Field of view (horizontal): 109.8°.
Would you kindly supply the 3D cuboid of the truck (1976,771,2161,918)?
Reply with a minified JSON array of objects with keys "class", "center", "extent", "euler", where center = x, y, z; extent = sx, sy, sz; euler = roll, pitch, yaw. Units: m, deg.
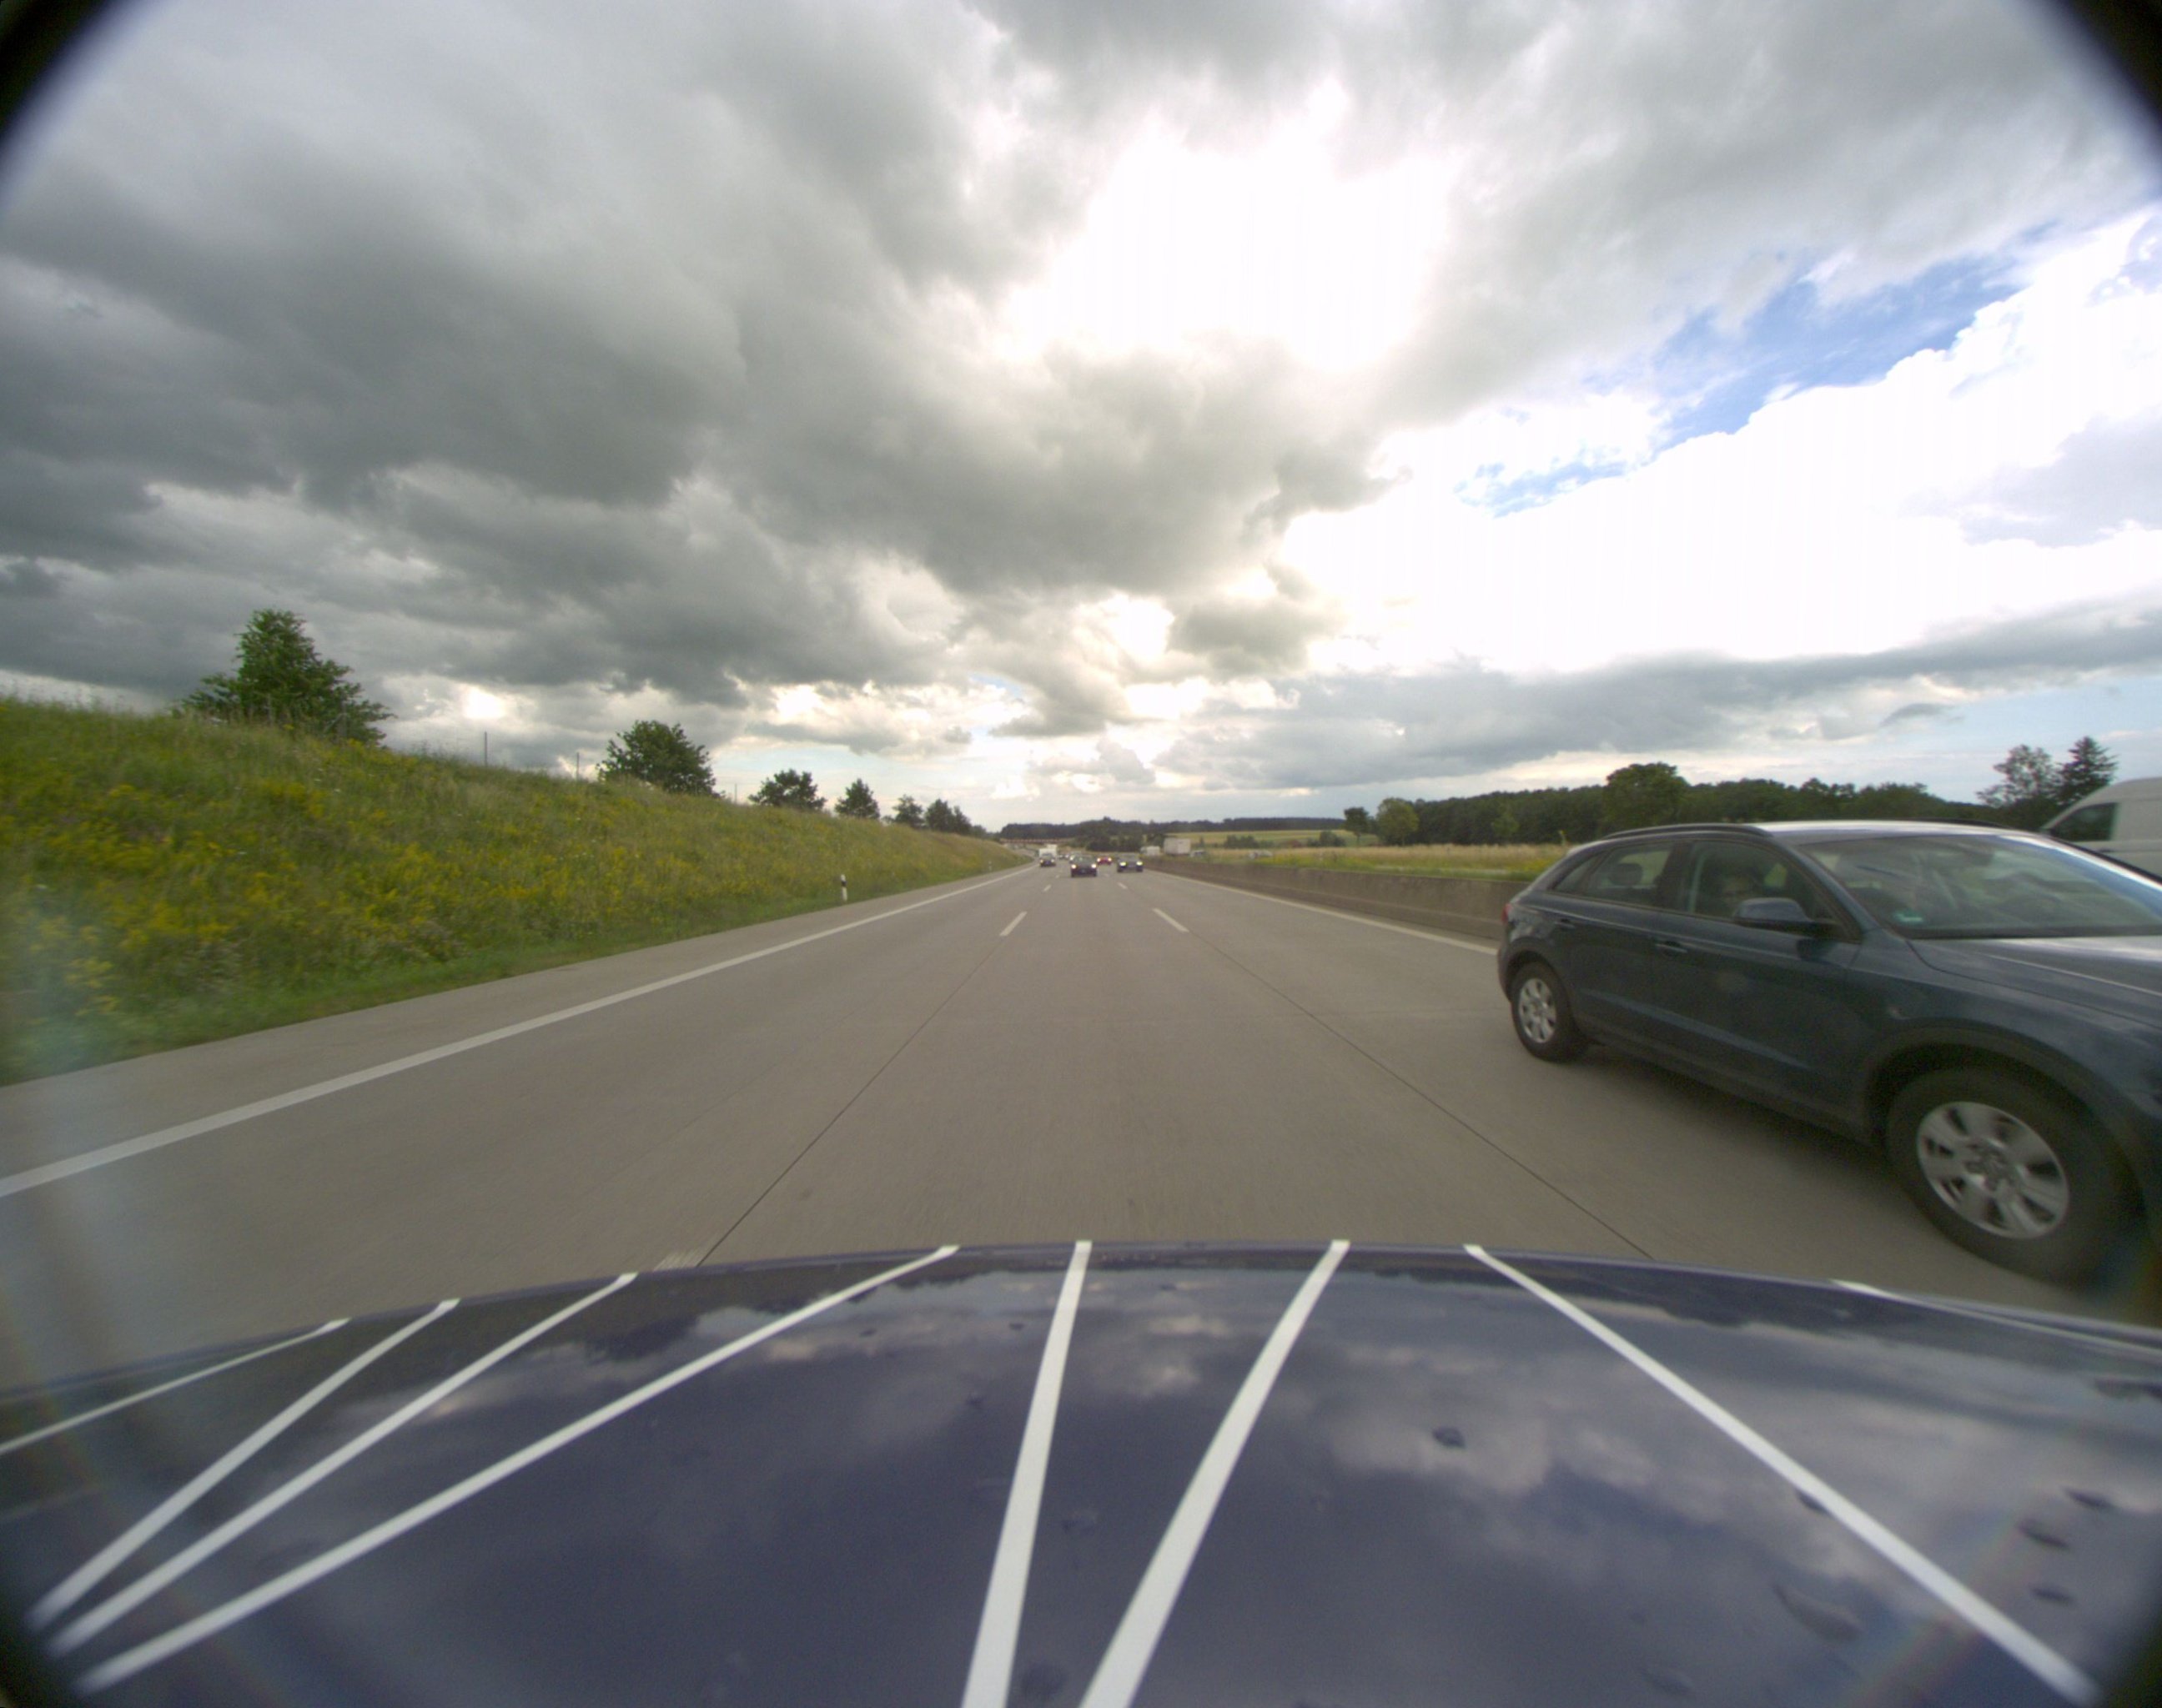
[{"class":"truck","center":[19.823,-0.187,12.212],"extent":[2.150,2.552,7.446],"euler":[-2,1,0]}]

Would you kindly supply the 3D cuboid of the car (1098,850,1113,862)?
[{"class":"car","center":[3.150,0.218,98.801],"extent":[1.821,1.364,3.782],"euler":[-3,1,1]}]

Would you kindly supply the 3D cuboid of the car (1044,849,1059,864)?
[{"class":"car","center":[-3.850,0.301,98.297],"extent":[1.944,1.799,5.030],"euler":[-2,1,-3]}]

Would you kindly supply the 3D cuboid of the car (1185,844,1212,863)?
[{"class":"car","center":[11.724,-0.027,76.048],"extent":[1.998,1.771,4.930],"euler":[-1,0,0]}]

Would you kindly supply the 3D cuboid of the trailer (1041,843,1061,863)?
[{"class":"trailer","center":[-4.150,-0.145,104.153],"extent":[2.616,2.520,6.718],"euler":[-2,1,-3]}]

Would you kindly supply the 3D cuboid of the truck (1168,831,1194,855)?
[{"class":"truck","center":[18.651,-2.067,142.326],"extent":[2.848,4.231,14.562],"euler":[-2,1,0]}]

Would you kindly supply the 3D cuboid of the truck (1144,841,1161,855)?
[{"class":"truck","center":[14.006,-1.153,148.641],"extent":[2.622,2.709,6.918],"euler":[-2,1,0]}]

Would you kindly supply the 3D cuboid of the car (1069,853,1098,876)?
[{"class":"car","center":[0.125,0.670,51.691],"extent":[1.691,1.405,3.998],"euler":[-2,1,-3]}]

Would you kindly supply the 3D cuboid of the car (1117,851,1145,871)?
[{"class":"car","center":[3.865,0.487,59.687],"extent":[1.940,1.464,4.000],"euler":[-2,0,1]}]

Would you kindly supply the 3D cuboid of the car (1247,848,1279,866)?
[{"class":"car","center":[15.622,0.206,65.400],"extent":[1.861,1.455,4.000],"euler":[-1,0,0]}]

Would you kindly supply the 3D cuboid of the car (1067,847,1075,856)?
[{"class":"car","center":[-2.381,-0.569,187.539],"extent":[1.810,2.002,3.841],"euler":[-3,1,-2]}]

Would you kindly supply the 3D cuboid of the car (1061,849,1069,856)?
[{"class":"car","center":[-4.585,-0.505,217.159],"extent":[1.999,2.002,3.998],"euler":[-2,1,-2]}]

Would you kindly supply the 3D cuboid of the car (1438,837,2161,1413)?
[{"class":"car","center":[3.930,0.748,3.812],"extent":[1.797,1.587,5.156],"euler":[-2,1,0]}]

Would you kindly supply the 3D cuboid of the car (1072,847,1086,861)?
[{"class":"car","center":[-0.320,0.006,120.135],"extent":[1.999,2.002,3.998],"euler":[-2,0,-4]}]

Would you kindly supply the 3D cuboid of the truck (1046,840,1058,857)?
[{"class":"truck","center":[-7.285,-1.417,192.372],"extent":[2.855,4.176,10.707],"euler":[-2,0,-2]}]
